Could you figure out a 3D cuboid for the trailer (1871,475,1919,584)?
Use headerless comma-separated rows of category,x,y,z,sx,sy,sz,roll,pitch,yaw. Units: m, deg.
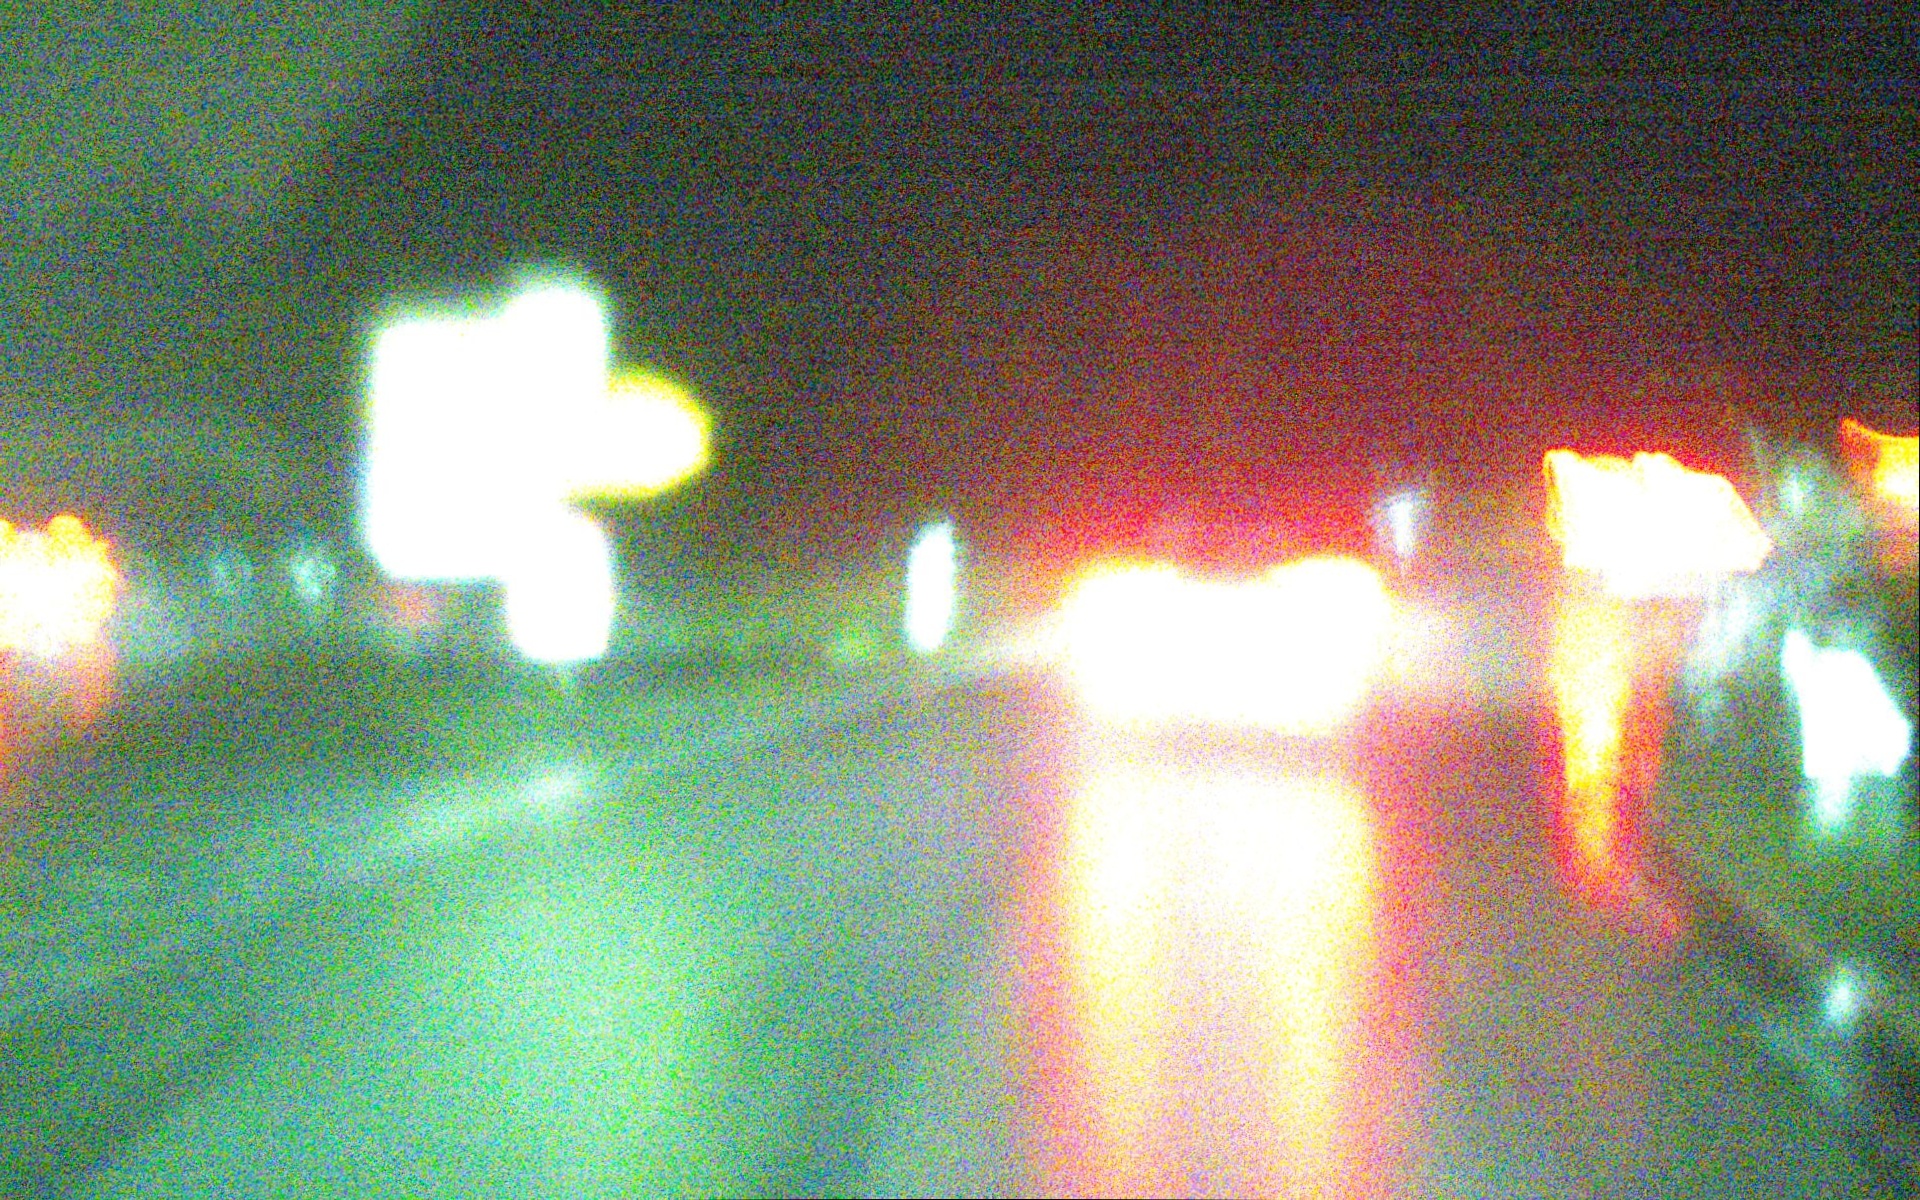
trailer,19.473,-1.356,68.405,2.080,2.007,10.638,-1,0,17

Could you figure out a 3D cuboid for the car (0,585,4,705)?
car,-11.647,0.521,37.493,1.961,1.376,4.050,-1,0,-10
